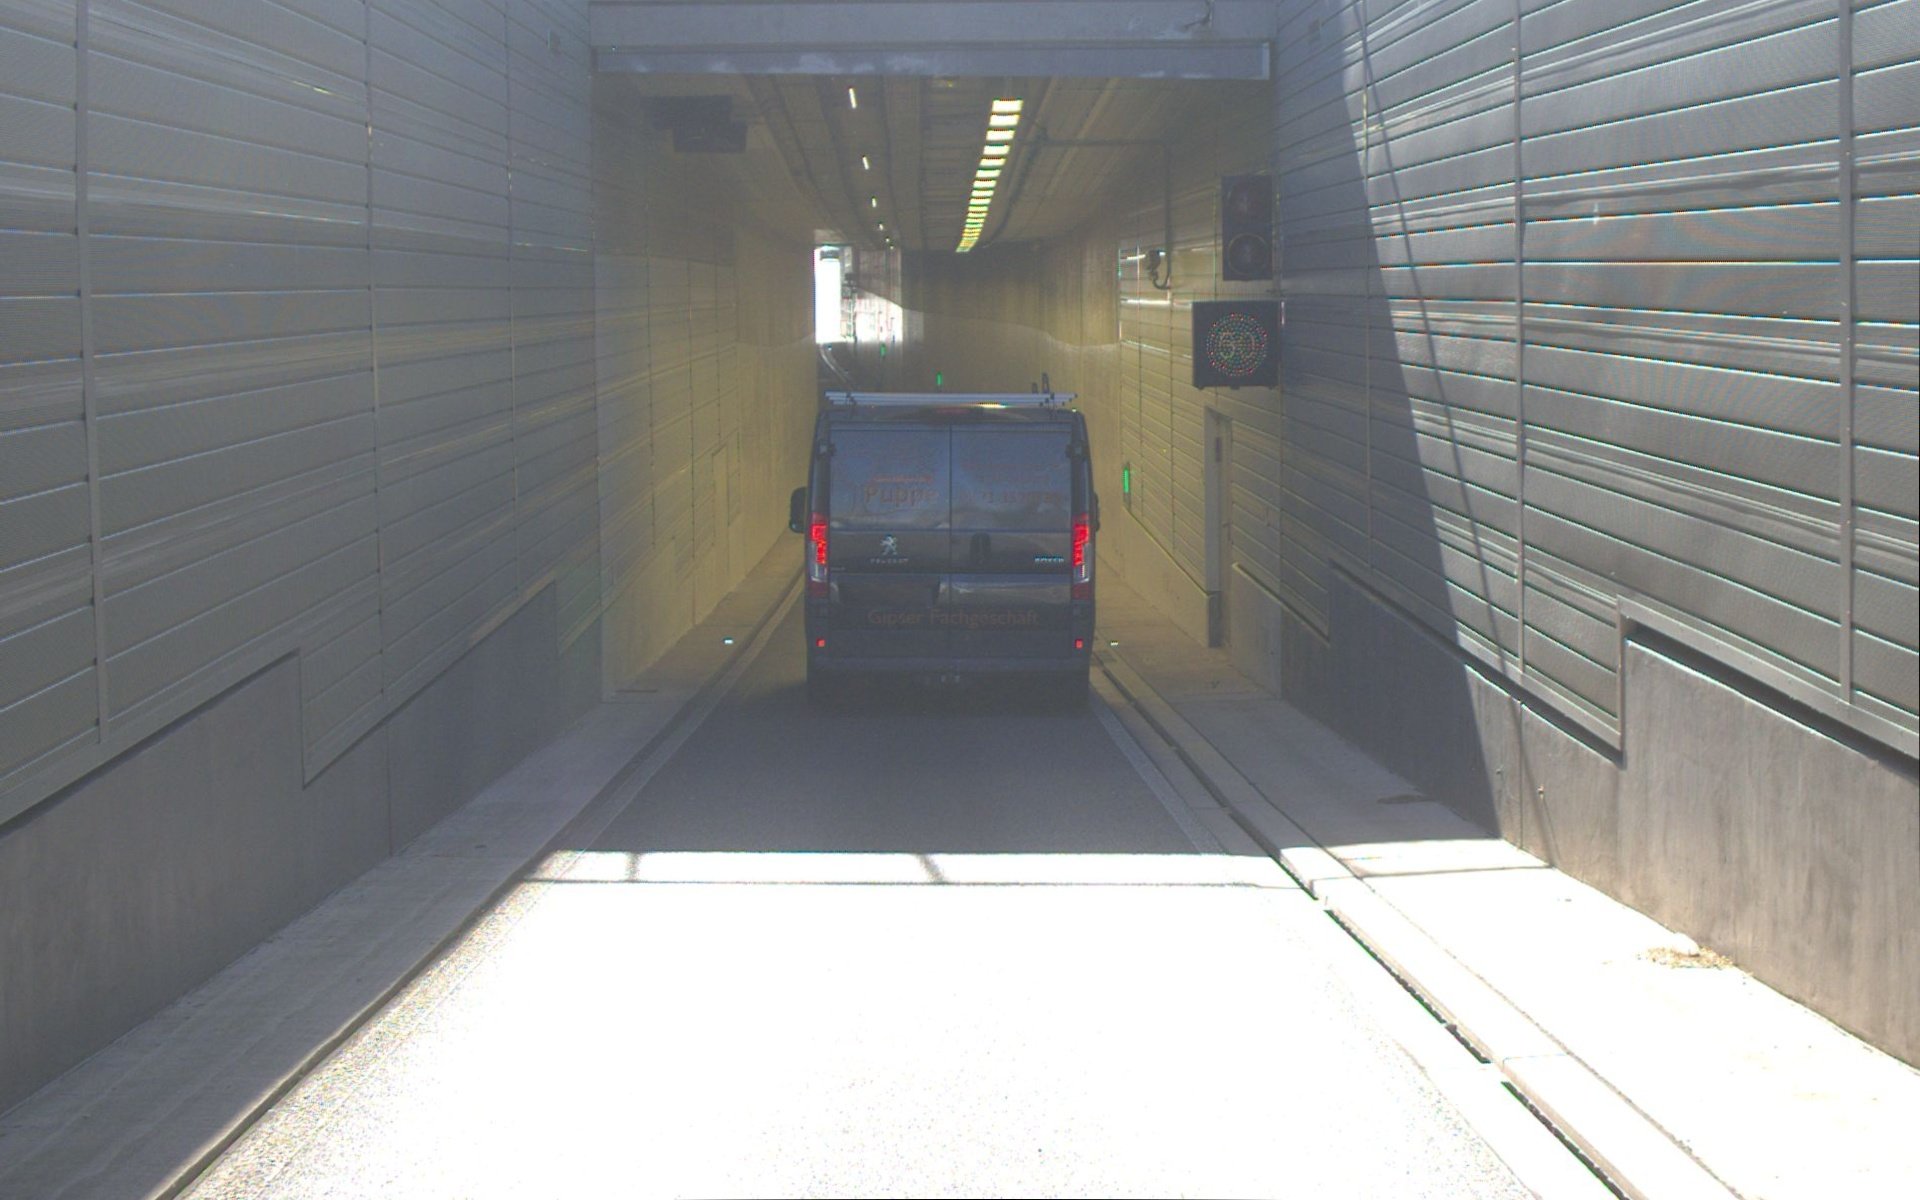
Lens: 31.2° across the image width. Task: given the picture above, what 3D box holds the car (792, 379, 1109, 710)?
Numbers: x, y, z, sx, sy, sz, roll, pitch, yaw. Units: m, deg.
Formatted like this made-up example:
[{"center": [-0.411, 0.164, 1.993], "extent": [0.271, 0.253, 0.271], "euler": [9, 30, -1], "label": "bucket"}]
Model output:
[{"center": [-0.071, -0.473, 25.790], "extent": [2.158, 2.258, 4.637], "euler": [0, 2, 0], "label": "car"}]
